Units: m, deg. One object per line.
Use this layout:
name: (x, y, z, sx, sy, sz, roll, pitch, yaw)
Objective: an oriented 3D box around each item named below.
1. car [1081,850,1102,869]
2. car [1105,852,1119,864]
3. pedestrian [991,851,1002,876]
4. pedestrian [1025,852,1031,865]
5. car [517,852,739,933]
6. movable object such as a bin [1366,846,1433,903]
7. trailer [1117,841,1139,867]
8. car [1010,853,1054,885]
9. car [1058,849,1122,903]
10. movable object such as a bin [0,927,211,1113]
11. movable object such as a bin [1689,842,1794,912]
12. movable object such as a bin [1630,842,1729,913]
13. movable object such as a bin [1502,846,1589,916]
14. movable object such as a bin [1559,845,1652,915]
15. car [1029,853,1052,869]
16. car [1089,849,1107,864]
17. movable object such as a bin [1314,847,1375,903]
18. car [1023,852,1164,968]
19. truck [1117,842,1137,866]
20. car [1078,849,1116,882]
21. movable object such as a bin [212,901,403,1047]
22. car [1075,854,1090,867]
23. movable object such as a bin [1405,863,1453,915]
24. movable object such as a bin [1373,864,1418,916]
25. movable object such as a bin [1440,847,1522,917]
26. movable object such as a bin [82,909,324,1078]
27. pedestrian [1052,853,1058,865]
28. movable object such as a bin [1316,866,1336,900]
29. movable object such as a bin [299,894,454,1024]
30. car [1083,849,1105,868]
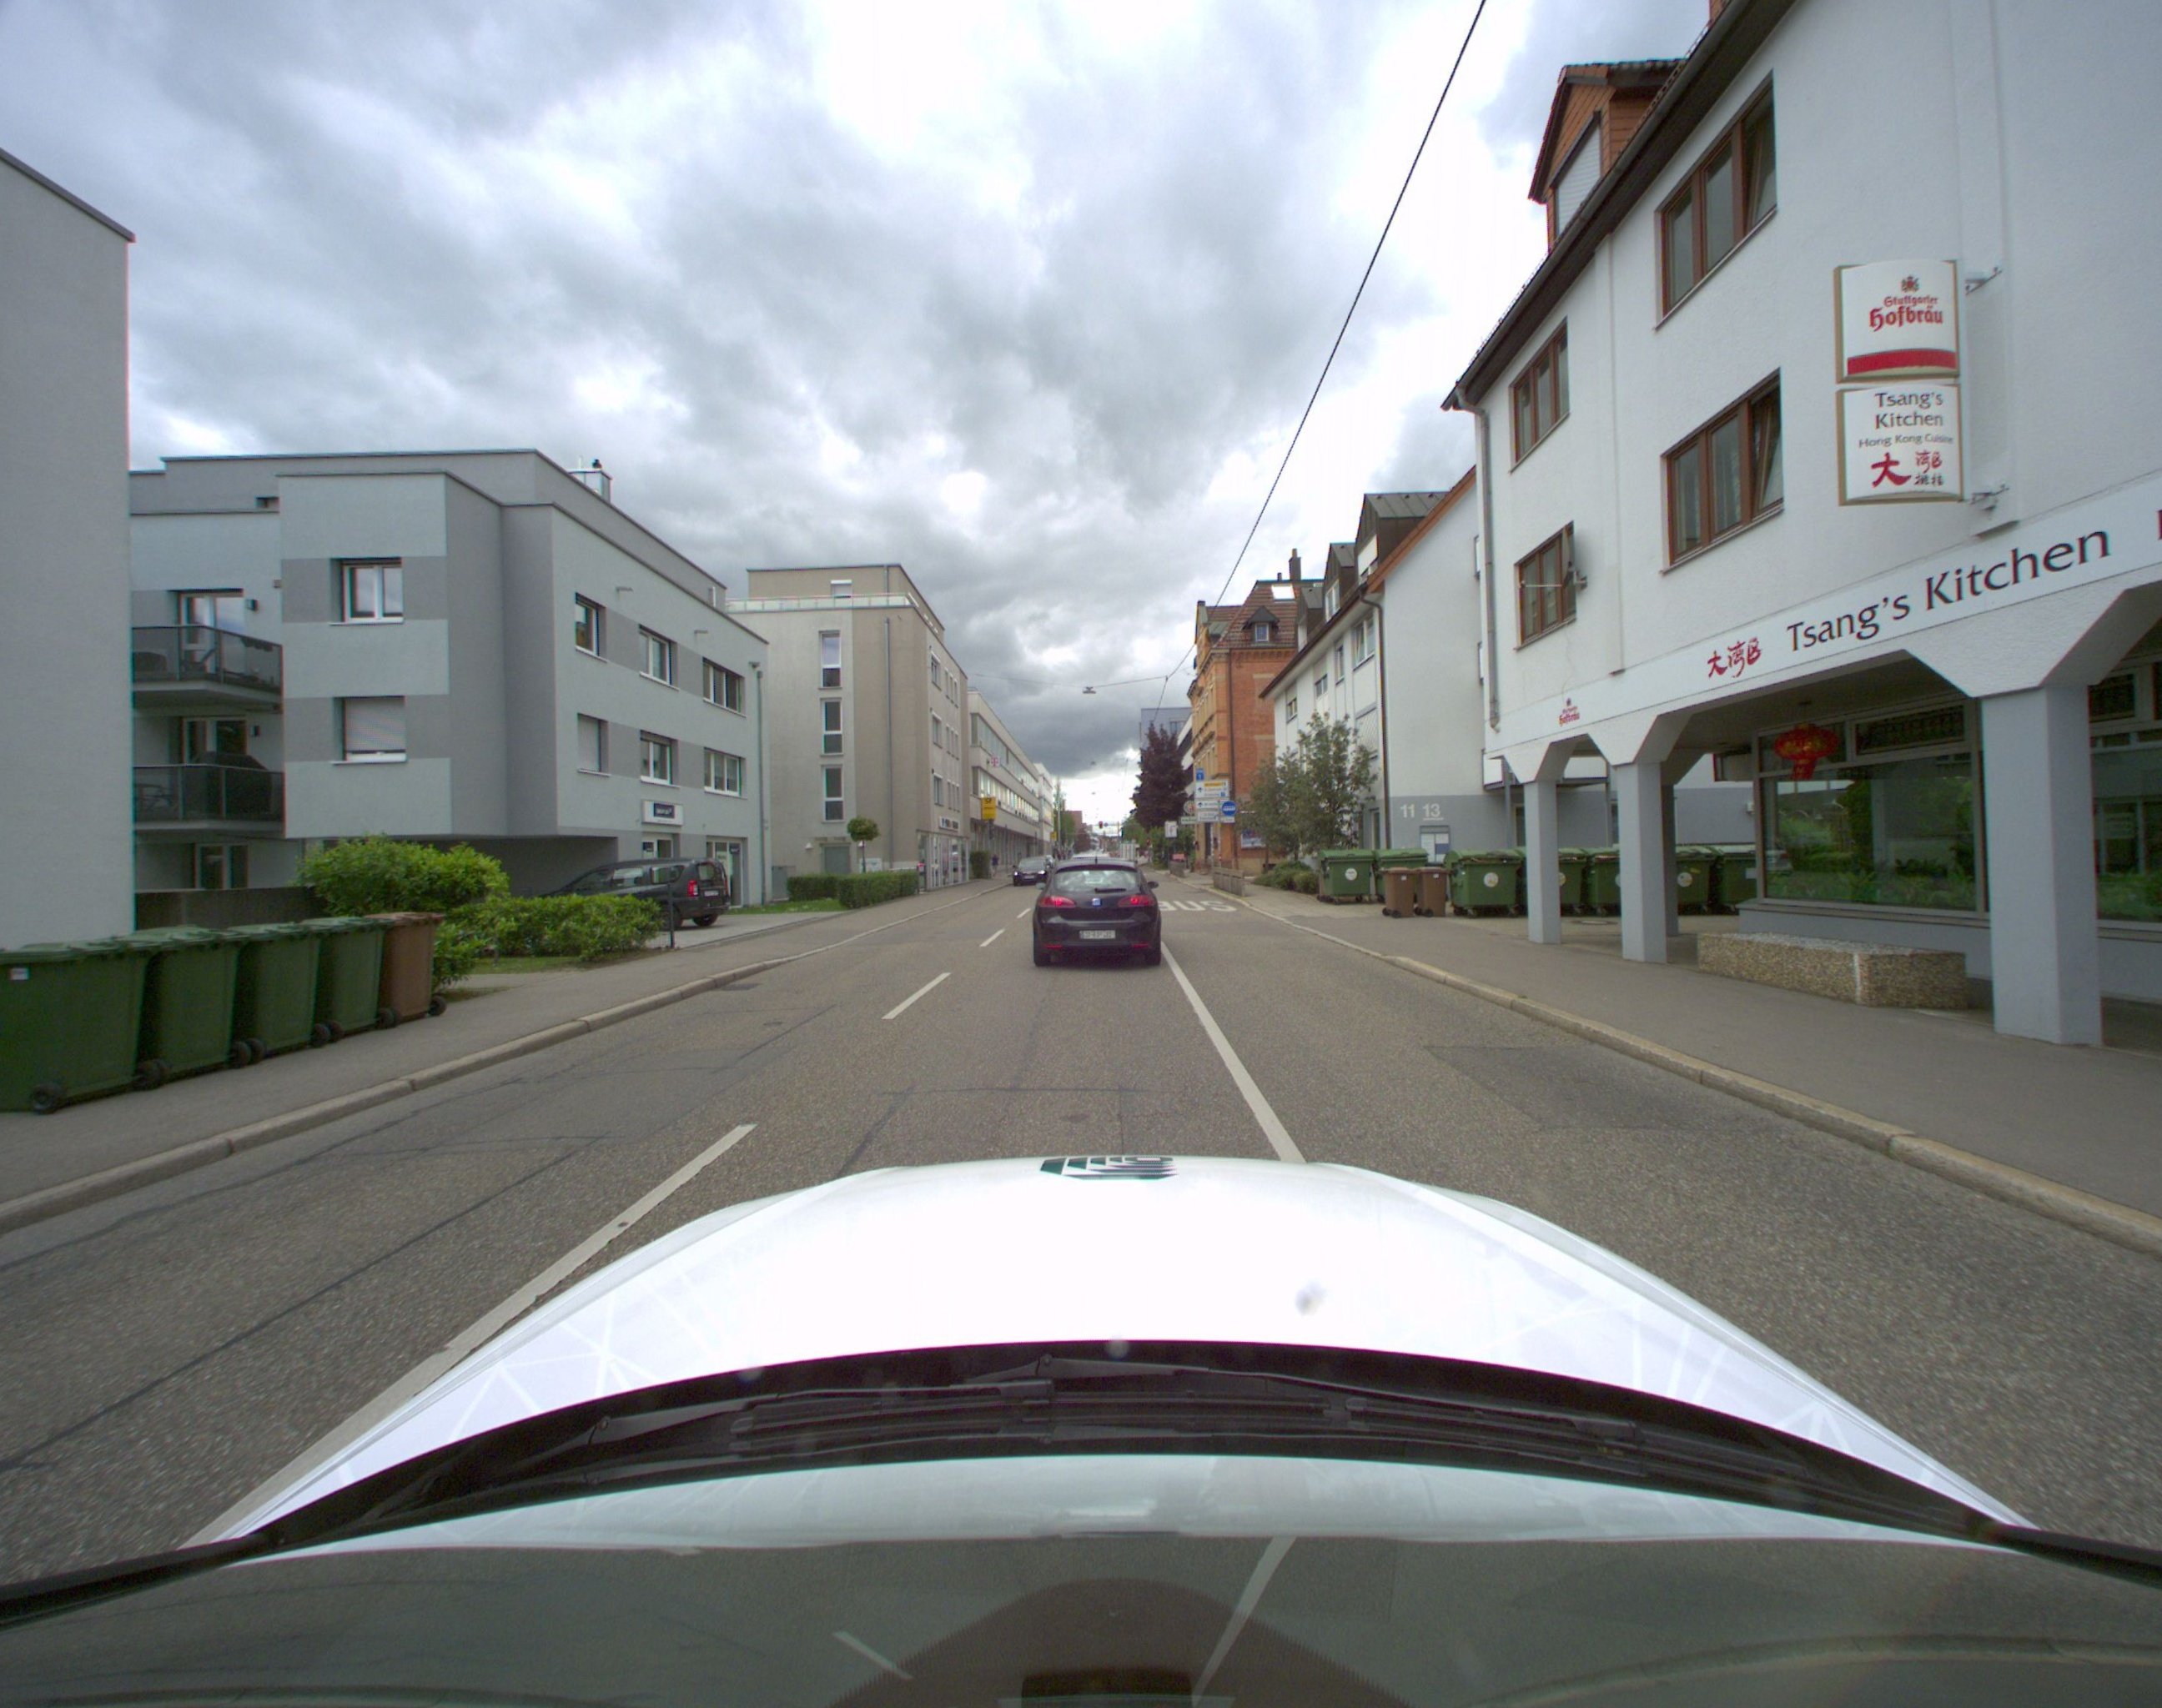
car: (0.944, 0.437, 70.919, 1.797, 1.601, 3.738, 0, 0, 1)
car: (4.222, 0.474, 111.037, 1.797, 1.601, 3.738, 0, 0, 1)
pedestrian: (-6.050, 0.668, 58.145, 0.641, 1.769, 0.809, -1, 0, -1)
pedestrian: (-6.547, 0.555, 101.042, 0.653, 1.623, 0.681, -1, 0, 2)
car: (-10.275, 0.853, 18.642, 4.143, 1.667, 1.727, -2, -1, 5)
movable object such as a bin: (8.373, 0.515, 21.482, 1.262, 1.435, 1.308, -1, 0, 2)
trailer: (4.925, 0.012, 86.050, 1.986, 2.607, 5.350, -1, 0, 1)
car: (-2.525, 0.741, 43.065, 1.872, 1.451, 4.215, -4, 0, 1)
car: (0.297, 0.628, 25.304, 1.797, 1.492, 3.738, -1, 0, 1)
movable object such as a bin: (-6.819, 1.091, 5.547, 0.892, 1.089, 0.792, -1, 0, -3)
movable object such as a bin: (13.918, 0.468, 17.212, 1.203, 1.417, 1.261, -1, 0, 5)
movable object such as a bin: (12.679, 0.480, 17.302, 1.203, 1.417, 1.261, -1, 0, 5)
movable object such as a bin: (9.901, 0.552, 17.423, 1.203, 1.417, 1.261, -1, 0, 5)
movable object such as a bin: (11.152, 0.529, 17.369, 1.203, 1.417, 1.261, -1, 0, 5)
car: (-3.994, 0.687, 80.378, 1.986, 1.517, 4.175, -1, 0, 1)
car: (1.742, 0.258, 84.632, 1.797, 1.601, 3.738, 0, 0, 1)
movable object such as a bin: (7.034, 0.550, 21.800, 1.262, 1.417, 1.163, -1, 0, 2)
car: (0.216, 0.707, 12.262, 1.759, 1.433, 3.830, -1, 0, 2)
truck: (4.980, -0.001, 88.823, 1.986, 2.607, 3.261, -1, 0, 1)
car: (0.807, 0.534, 40.688, 1.797, 1.553, 3.738, -1, 0, 1)
movable object such as a bin: (-6.824, 1.030, 7.234, 0.946, 1.151, 0.748, -1, 0, -3)
car: (0.201, 0.906, 118.775, 1.986, 1.738, 4.554, -3, 0, 1)
movable object such as a bin: (7.612, 0.758, 17.837, 0.694, 1.079, 0.973, -1, 0, 5)
movable object such as a bin: (6.886, 0.778, 17.878, 0.680, 1.067, 0.973, -1, 0, 5)
movable object such as a bin: (8.543, 0.582, 17.468, 1.203, 1.417, 1.261, -1, 0, 5)
movable object such as a bin: (-6.838, 1.050, 6.407, 0.954, 1.151, 0.839, -1, 0, -3)
pedestrian: (-3.949, 0.747, 123.702, 0.915, 1.869, 0.783, -1, 0, 1)
movable object such as a bin: (6.801, 0.793, 22.618, 0.428, 0.921, 0.465, -1, 0, 2)
movable object such as a bin: (-6.831, 0.997, 7.933, 0.938, 1.151, 0.612, -1, 0, -3)
car: (1.145, 0.370, 70.776, 1.797, 1.553, 3.738, -1, 0, 1)
